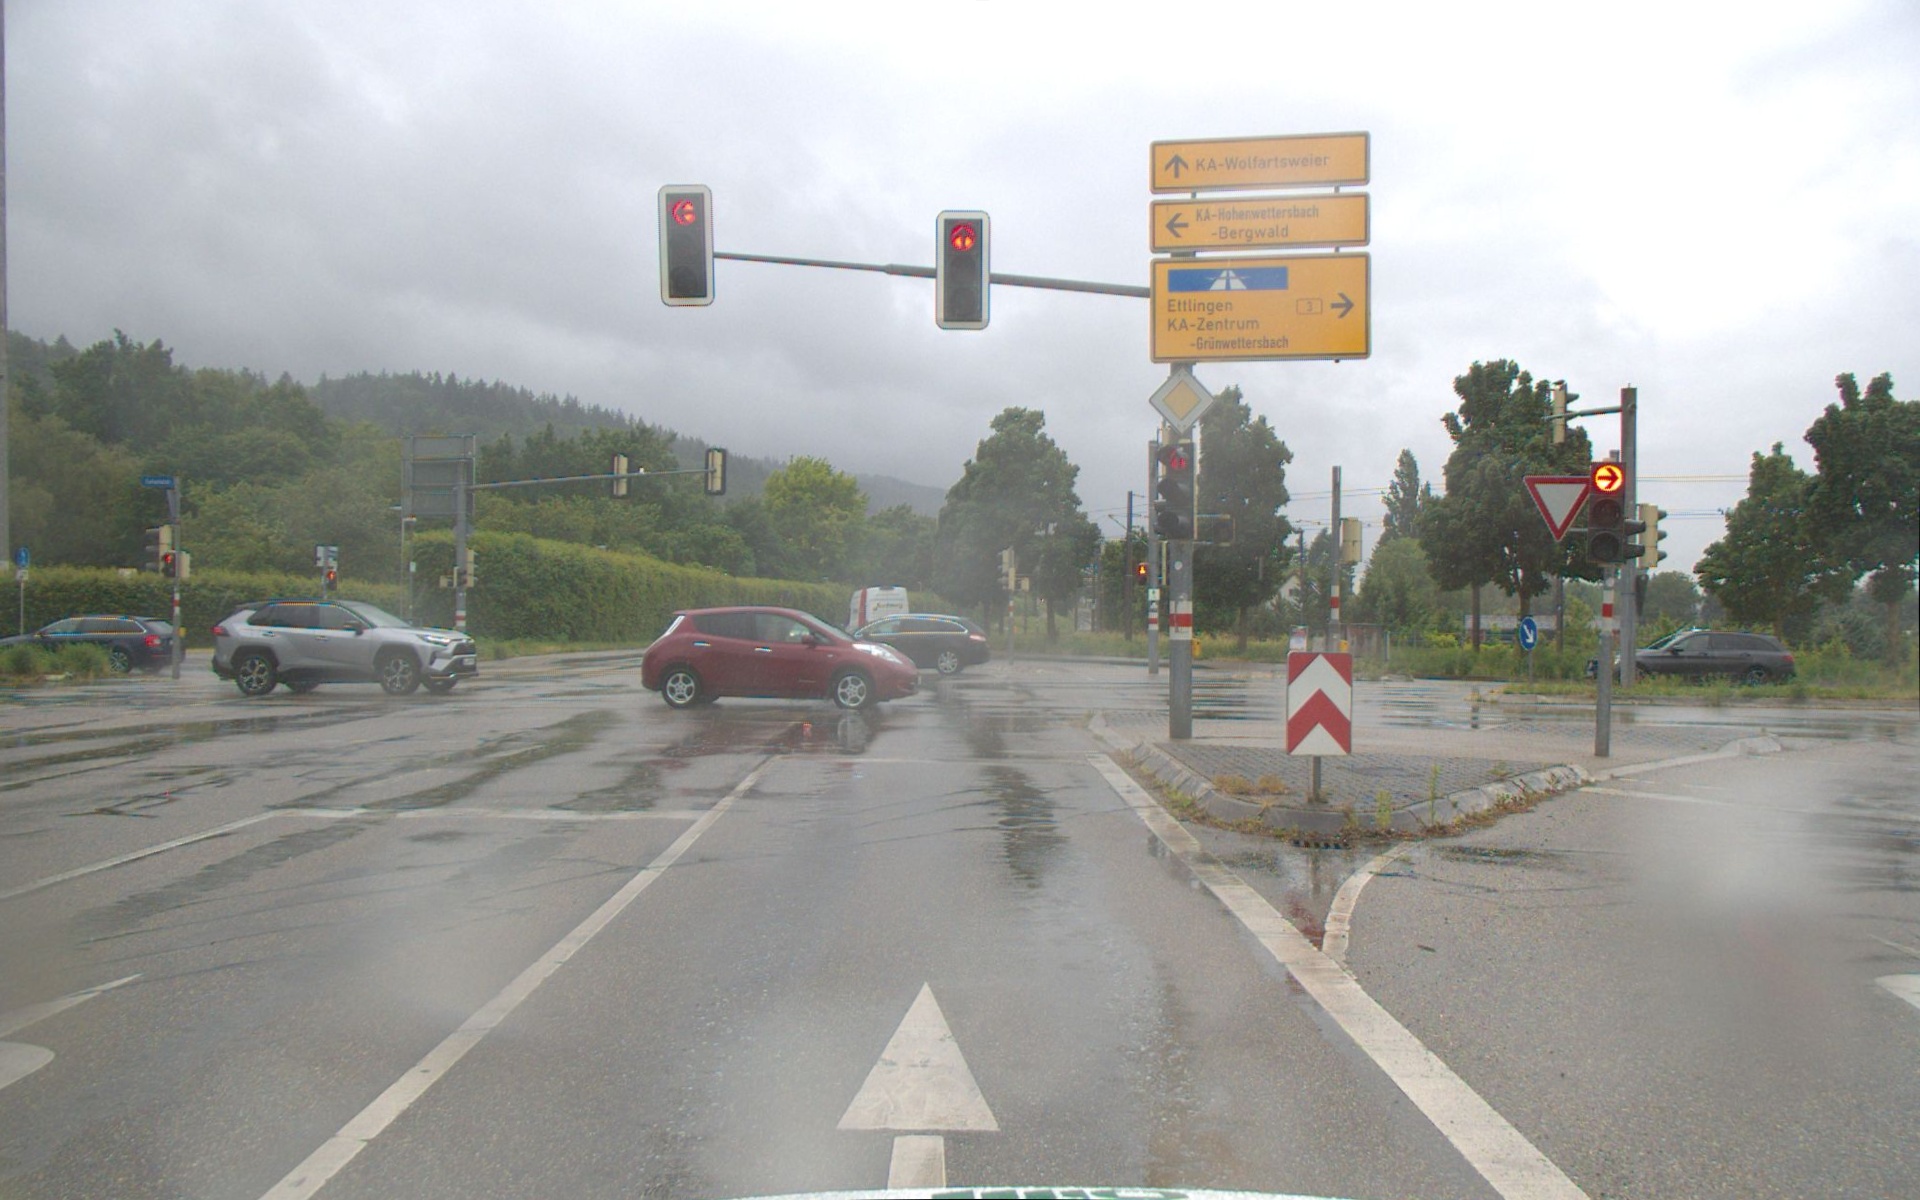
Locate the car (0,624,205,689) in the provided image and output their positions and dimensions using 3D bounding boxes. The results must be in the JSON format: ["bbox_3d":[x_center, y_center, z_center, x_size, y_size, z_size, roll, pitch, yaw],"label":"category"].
[{"bbox_3d":[-21.739,1.396,41.663,4.575,1.581,1.822,0,0,-1],"label":"car"}]

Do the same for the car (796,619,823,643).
[{"bbox_3d":[-9.792,2.017,107.881,1.527,1.507,3.360,1,0,-2],"label":"car"}]

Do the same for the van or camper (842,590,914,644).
[{"bbox_3d":[-3.556,0.718,70.780,2.118,2.207,4.845,1,0,-15],"label":"van or camper"}]

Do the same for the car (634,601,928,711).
[{"bbox_3d":[-2.741,0.850,25.869,4.283,1.607,1.733,1,0,5],"label":"car"}]

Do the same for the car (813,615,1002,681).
[{"bbox_3d":[-1.251,1.176,40.921,4.572,1.581,1.823,0,0,2],"label":"car"}]

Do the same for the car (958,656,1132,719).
[{"bbox_3d":[2.265,2.329,44.274,4.572,1.581,1.823,0,0,2],"label":"car"}]

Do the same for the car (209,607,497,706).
[{"bbox_3d":[-10.871,0.988,29.778,4.431,1.607,1.914,1,0,6],"label":"car"}]

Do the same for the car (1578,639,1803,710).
[{"bbox_3d":[17.297,1.748,39.334,4.570,1.581,1.824,0,0,7],"label":"car"}]
